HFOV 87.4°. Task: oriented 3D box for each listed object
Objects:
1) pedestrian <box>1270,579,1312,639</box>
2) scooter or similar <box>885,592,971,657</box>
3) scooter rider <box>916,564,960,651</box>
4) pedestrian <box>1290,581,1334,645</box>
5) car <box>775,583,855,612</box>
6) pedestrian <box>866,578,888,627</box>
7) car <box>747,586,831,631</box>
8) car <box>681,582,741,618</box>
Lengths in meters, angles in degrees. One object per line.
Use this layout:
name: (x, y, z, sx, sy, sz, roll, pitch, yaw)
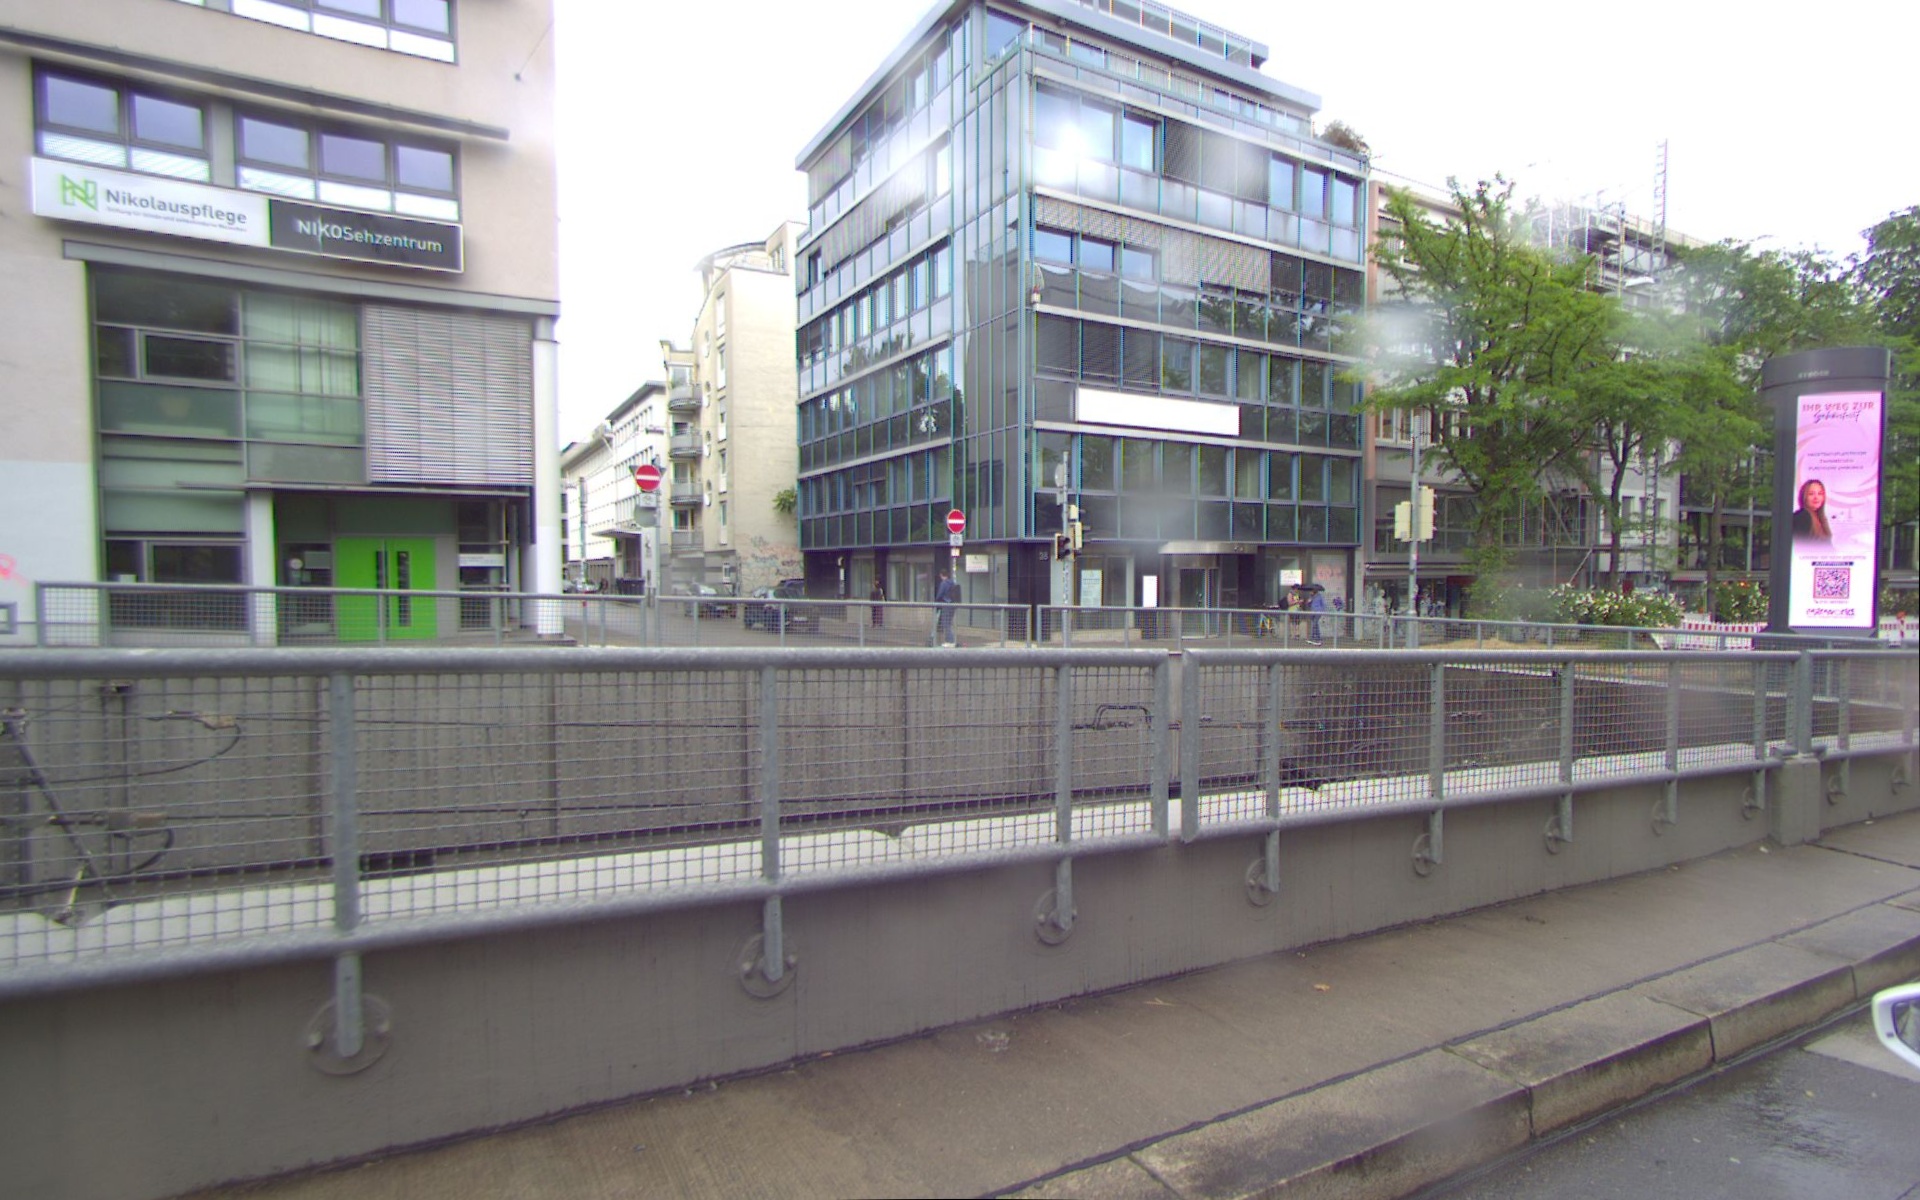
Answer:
pedestrian: (10.884, 0.286, 33.071, 0.943, 1.893, 0.865, 1, 2, -11)
scooter or similar: (-0.751, 0.569, 23.795, 1.916, 1.438, 0.548, 2, 1, 15)
scooter rider: (-0.515, 0.165, 23.709, 0.806, 1.974, 0.811, 2, 2, 15)
pedestrian: (10.838, 0.392, 30.903, 0.857, 1.893, 0.872, 1, 2, -32)
car: (-7.680, -0.132, 53.349, 3.846, 1.445, 1.799, 1, 0, -27)
pedestrian: (-2.894, 0.072, 34.963, 0.482, 1.694, 0.661, 1, 1, -30)
car: (-6.038, 0.267, 35.146, 1.788, 1.445, 3.868, 1, 0, -28)
car: (-10.979, -0.015, 44.054, 1.672, 1.445, 3.868, 1, 0, -28)
